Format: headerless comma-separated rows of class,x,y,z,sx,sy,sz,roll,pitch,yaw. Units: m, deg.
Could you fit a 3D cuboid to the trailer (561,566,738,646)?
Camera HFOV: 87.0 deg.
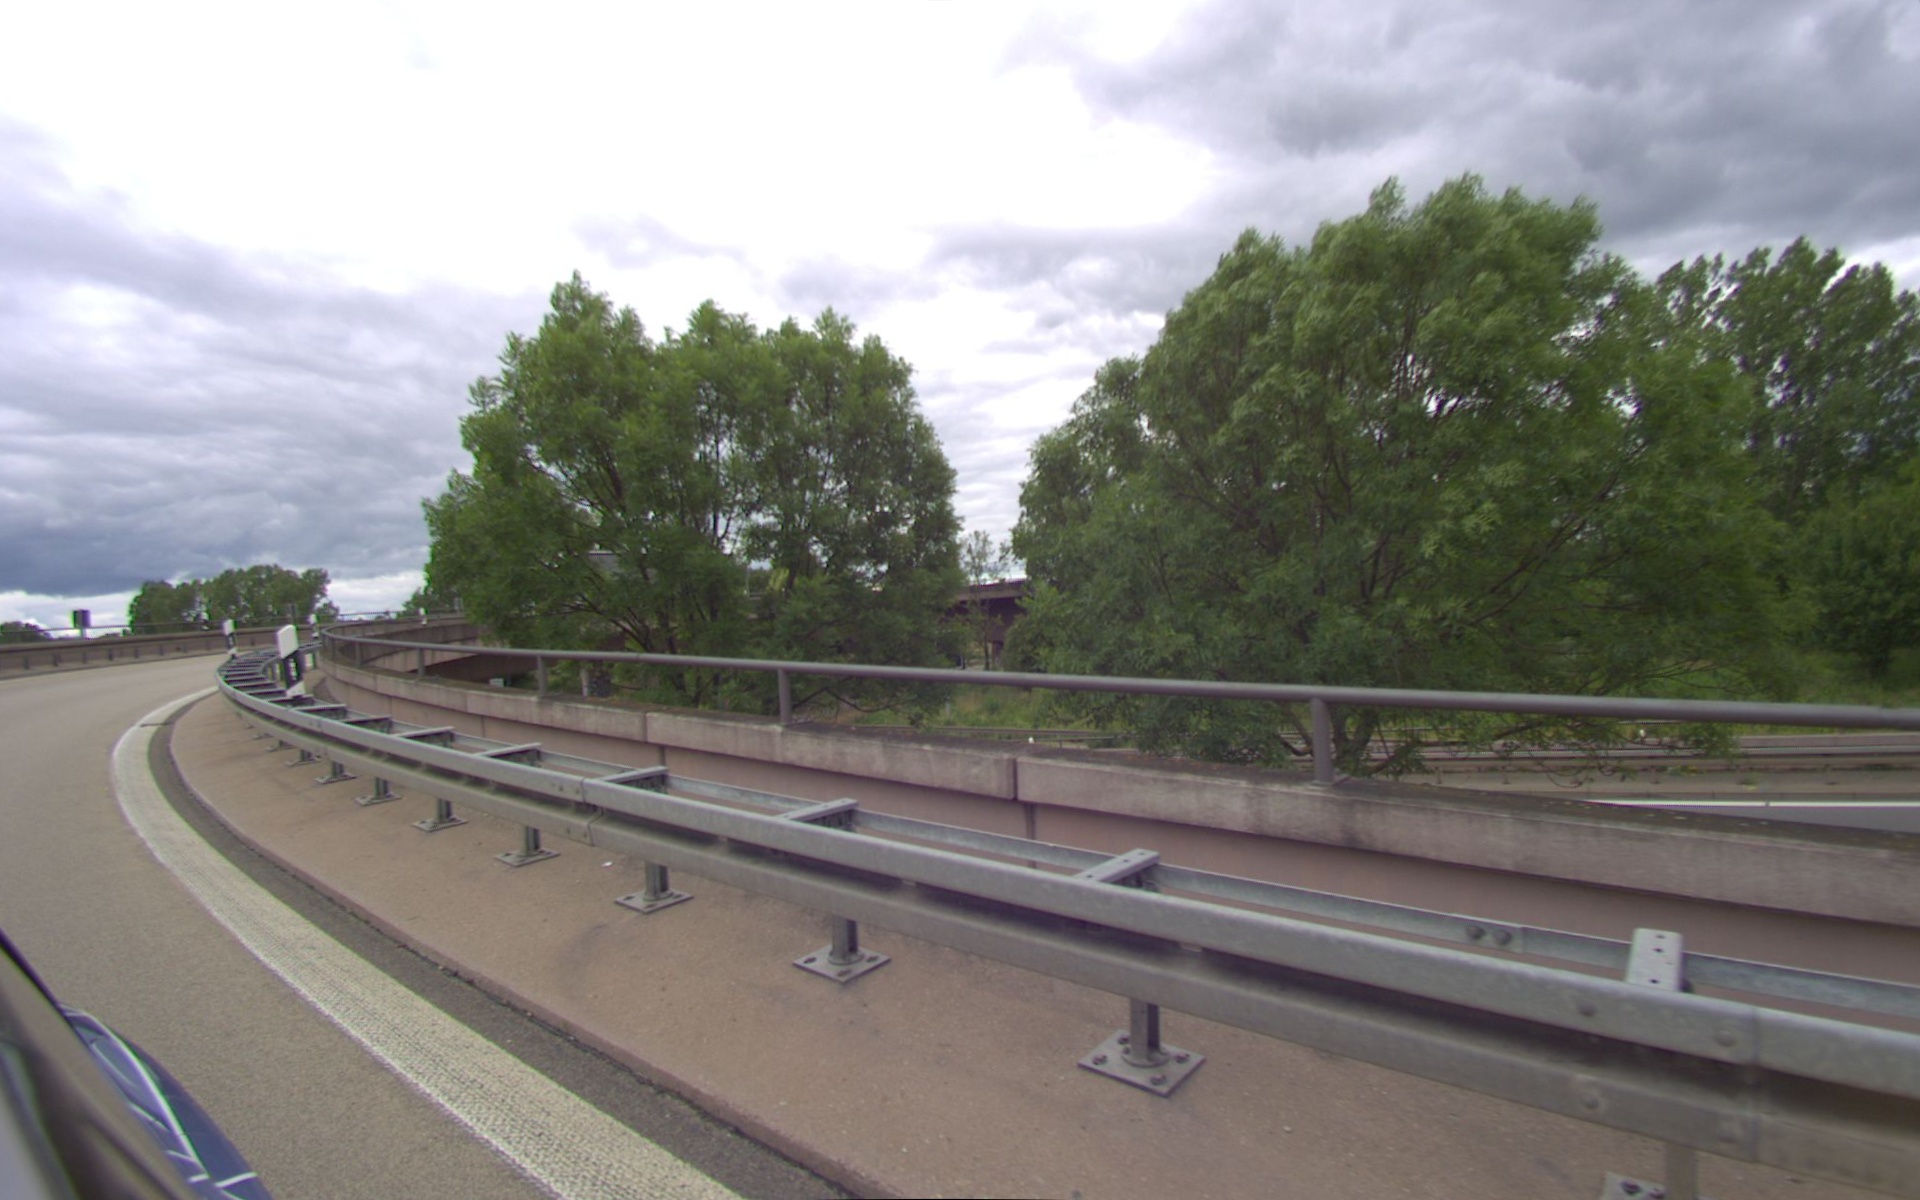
trailer,-18.762,0.158,62.753,2.729,4.269,13.358,-4,0,20

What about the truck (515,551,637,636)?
truck,-21.106,-0.419,55.989,2.716,4.259,6.161,-4,0,20
